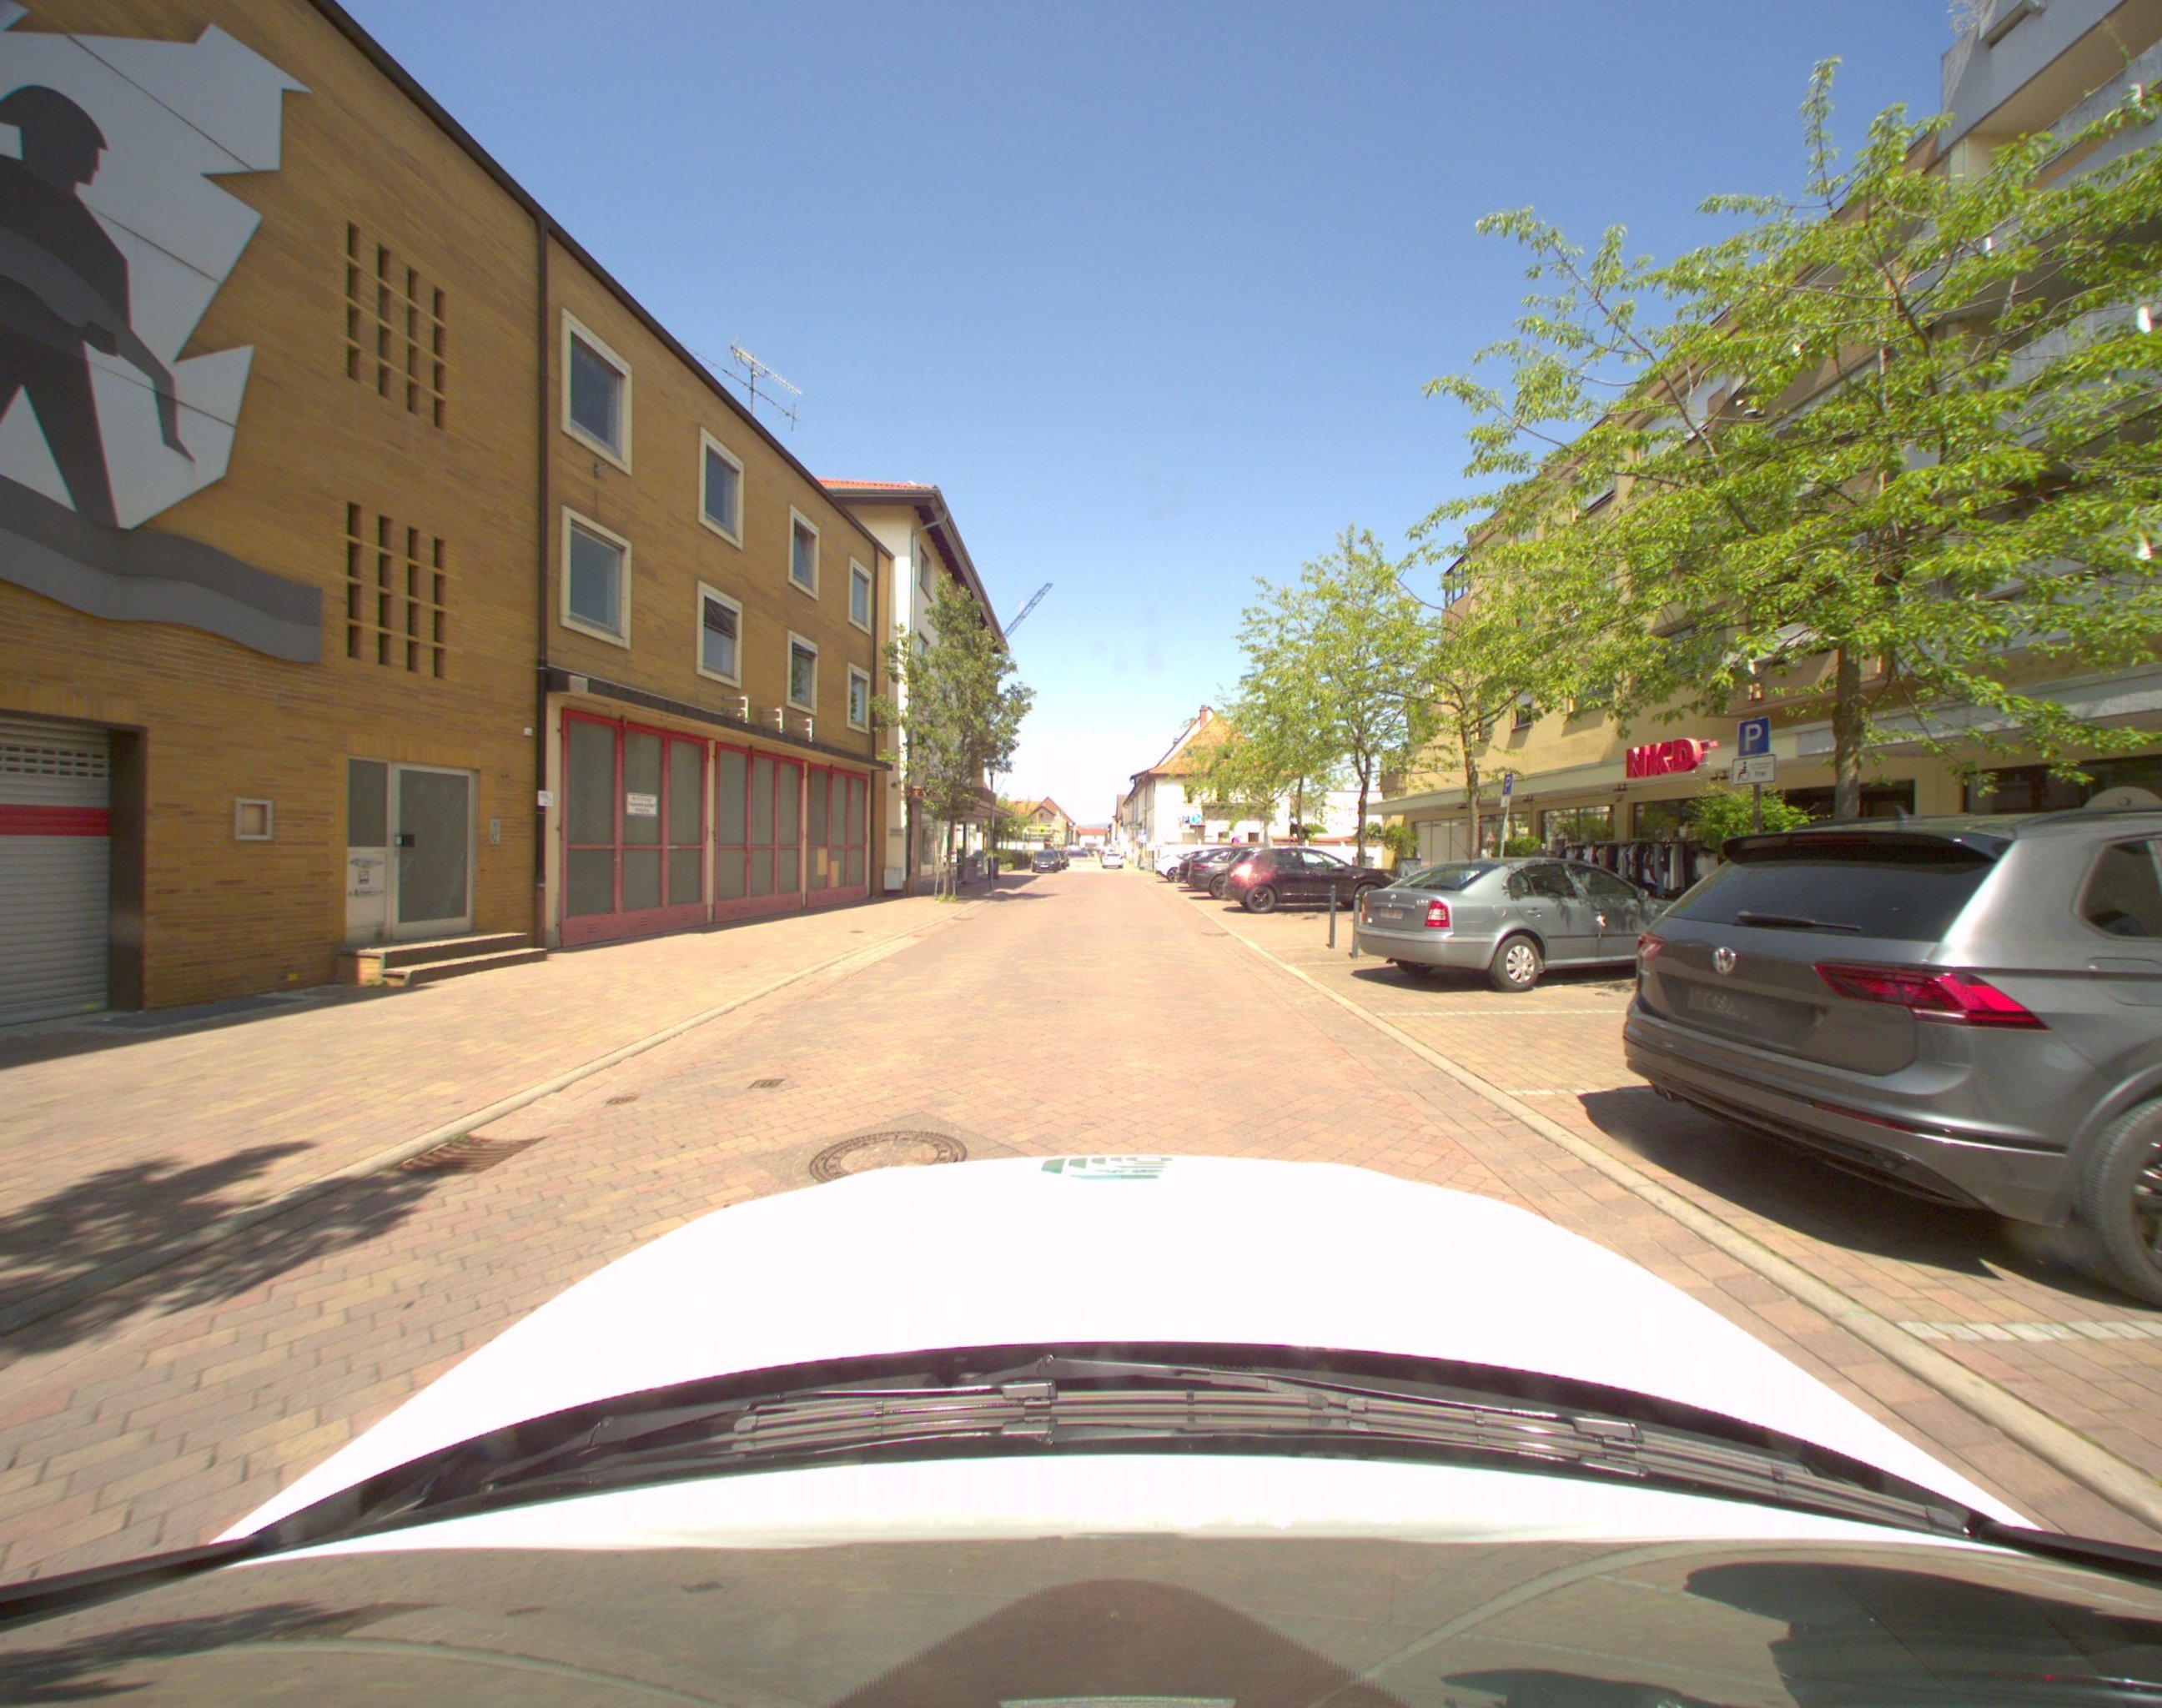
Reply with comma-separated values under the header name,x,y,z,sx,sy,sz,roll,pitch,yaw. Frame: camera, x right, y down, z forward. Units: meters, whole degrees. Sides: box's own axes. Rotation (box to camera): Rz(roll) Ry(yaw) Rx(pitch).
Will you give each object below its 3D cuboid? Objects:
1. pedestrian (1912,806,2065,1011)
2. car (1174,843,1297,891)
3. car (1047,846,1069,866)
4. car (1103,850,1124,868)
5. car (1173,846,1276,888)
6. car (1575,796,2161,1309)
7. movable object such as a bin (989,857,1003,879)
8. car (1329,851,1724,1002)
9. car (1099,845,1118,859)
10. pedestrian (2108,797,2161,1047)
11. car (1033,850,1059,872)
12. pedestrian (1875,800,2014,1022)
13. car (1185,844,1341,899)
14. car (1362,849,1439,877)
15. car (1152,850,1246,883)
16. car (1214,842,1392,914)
name,x,y,z,sx,sy,sz,roll,pitch,yaw
pedestrian,8.249,0.470,7.428,0.628,1.773,0.686,0,0,-6
car,5.741,0.457,30.671,4.266,1.681,2.000,-1,0,-1
car,-1.887,0.122,67.795,1.632,1.628,3.768,0,1,0
car,3.021,0.430,74.823,1.879,1.542,4.246,0,0,3
car,5.887,0.514,33.808,3.930,1.534,1.824,-2,0,0
car,4.741,0.598,3.469,4.230,1.618,1.757,-1,1,0
movable object such as a bin,-4.234,0.672,40.625,0.654,1.070,0.663,1,0,-5
car,5.387,0.720,9.866,4.390,1.463,1.877,-1,0,-22
car,3.195,-0.251,94.558,1.879,1.556,3.892,-3,1,-2
pedestrian,7.875,0.477,5.749,0.608,1.730,0.652,1,0,36
car,-2.408,0.454,56.274,1.698,1.496,3.854,0,1,-2
pedestrian,7.383,0.457,6.977,0.628,1.796,0.602,0,0,-20
car,5.561,0.517,25.342,4.488,1.588,1.852,-1,1,4
car,17.646,0.494,45.076,3.601,1.451,1.656,0,1,1
car,5.860,0.601,40.741,4.428,1.576,1.788,0,1,-2
car,5.453,0.576,20.385,4.010,1.612,1.682,-2,0,2
